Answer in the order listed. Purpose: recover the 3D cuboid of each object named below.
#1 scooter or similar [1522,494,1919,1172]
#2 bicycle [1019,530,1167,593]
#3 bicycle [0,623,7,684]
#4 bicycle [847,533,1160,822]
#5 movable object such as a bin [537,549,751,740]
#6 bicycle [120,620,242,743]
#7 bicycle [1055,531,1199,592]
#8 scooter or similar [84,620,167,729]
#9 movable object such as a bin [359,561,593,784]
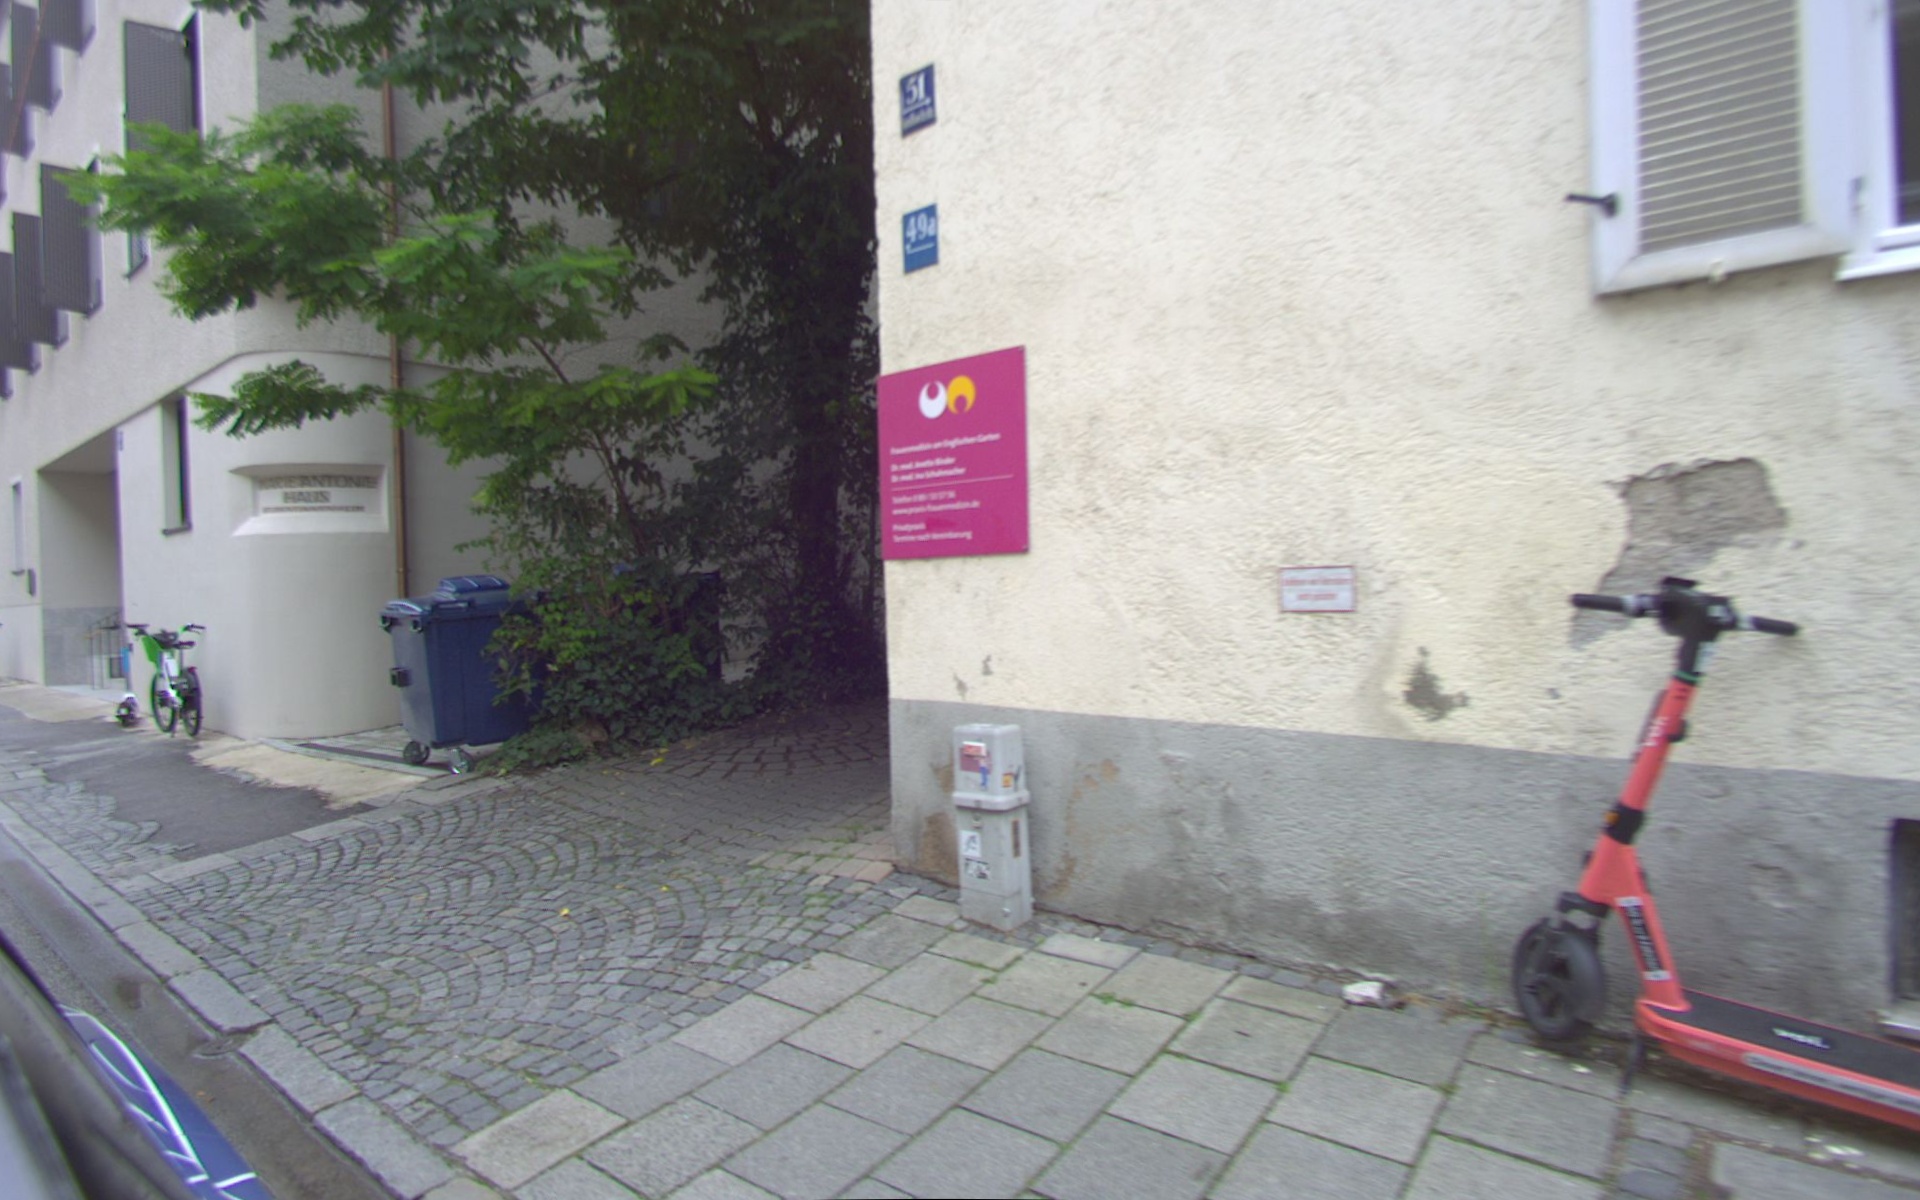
[{"bbox_3d":[1.984,0.476,2.251,1.238,1.386,0.314,-1,0,40],"label":"scooter or similar"},{"bbox_3d":[2.975,-0.824,23.011,3.242,1.307,1.142,-1,0,41],"label":"bicycle"},{"bbox_3d":[-18.821,1.022,19.380,1.915,1.147,0.532,-1,2,39],"label":"bicycle"},{"bbox_3d":[0.355,0.313,5.710,0.513,1.308,2.179,-1,3,39],"label":"bicycle"},{"bbox_3d":[-2.731,0.352,8.765,1.248,1.415,1.162,-3,4,42],"label":"movable object such as a bin"},{"bbox_3d":[-8.284,0.818,10.735,1.880,1.170,0.539,-1,2,39],"label":"bicycle"},{"bbox_3d":[3.893,-0.862,23.924,3.242,1.307,1.142,-1,0,41],"label":"bicycle"},{"bbox_3d":[-9.889,0.847,12.033,0.544,1.152,1.362,-4,3,-33],"label":"scooter or similar"},{"bbox_3d":[-3.753,0.509,7.841,1.161,1.452,1.249,-9,4,-44],"label":"movable object such as a bin"}]
